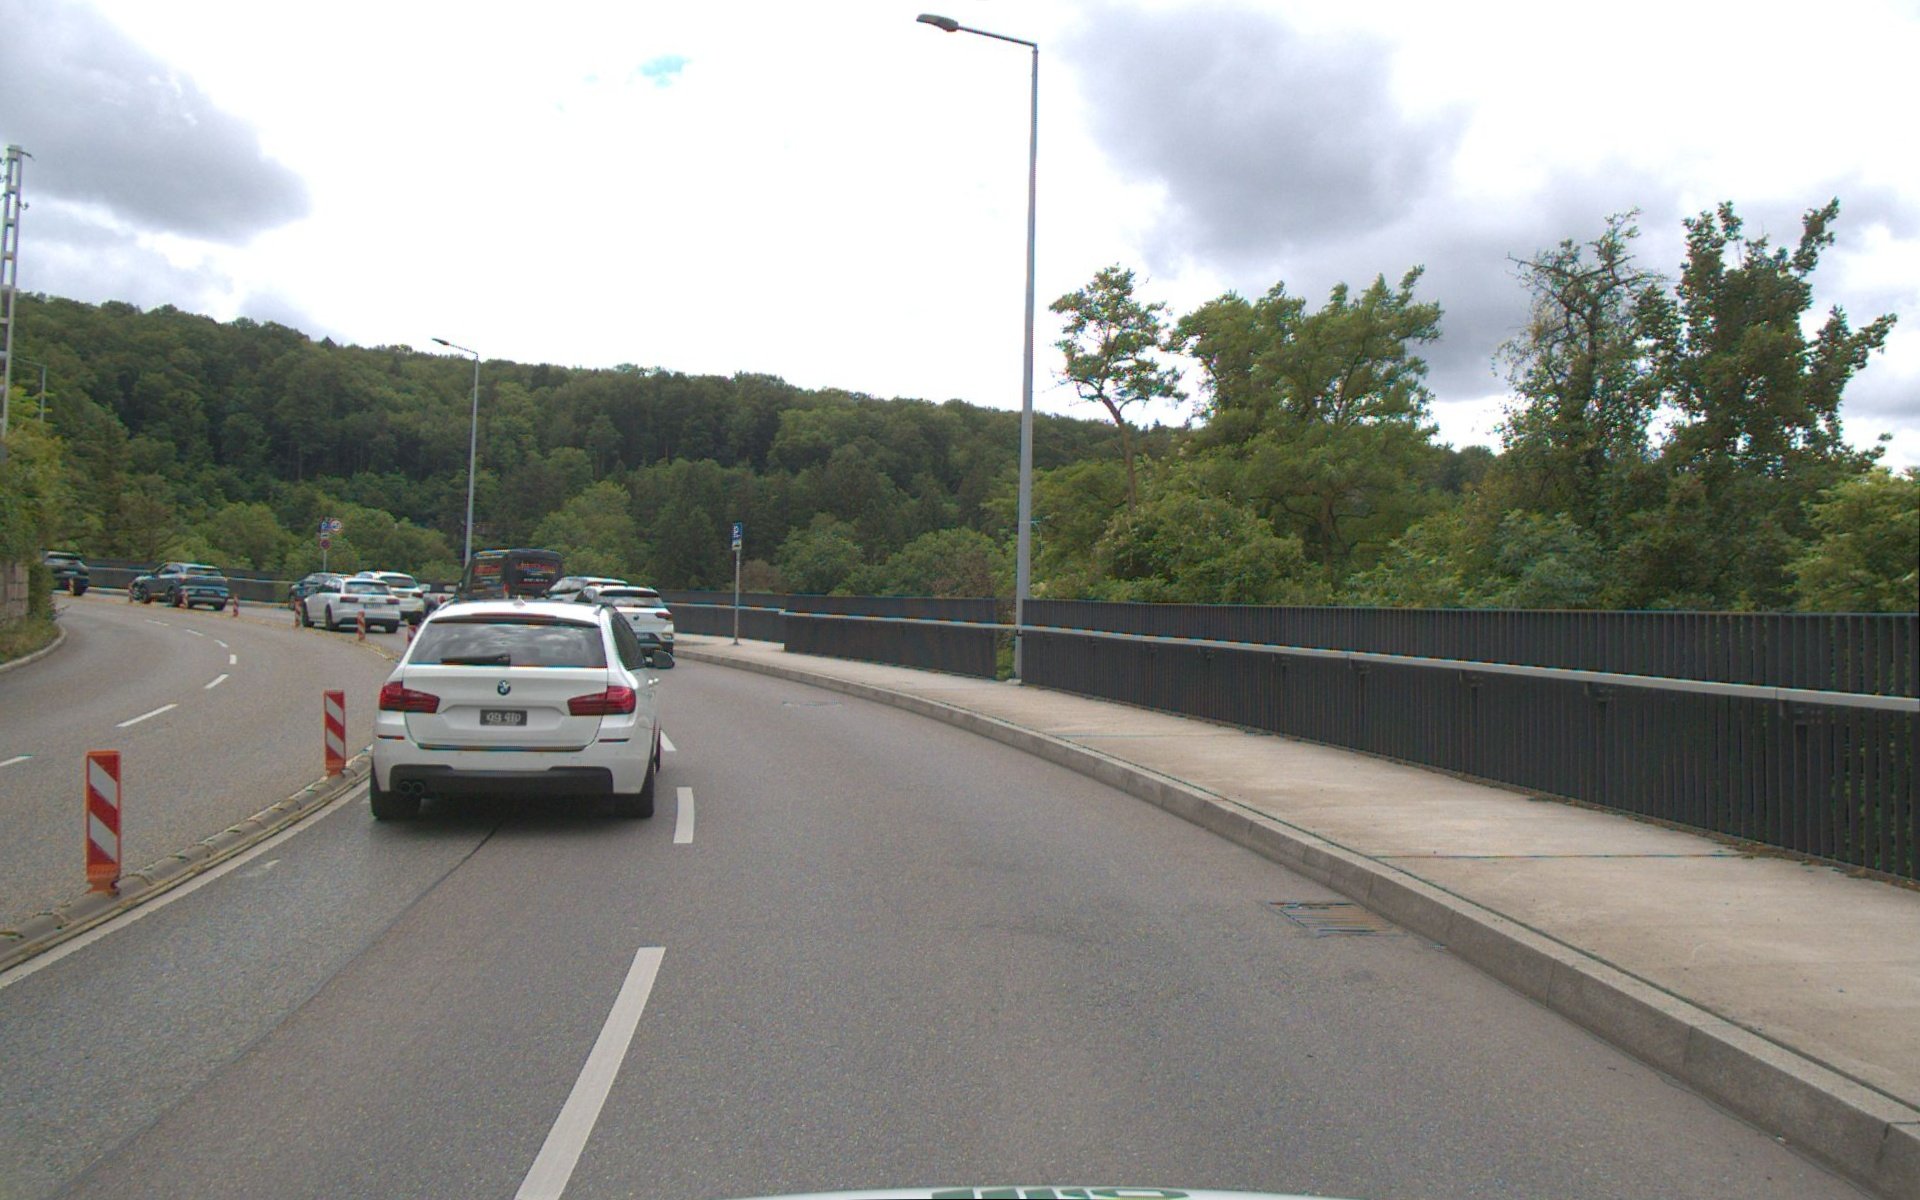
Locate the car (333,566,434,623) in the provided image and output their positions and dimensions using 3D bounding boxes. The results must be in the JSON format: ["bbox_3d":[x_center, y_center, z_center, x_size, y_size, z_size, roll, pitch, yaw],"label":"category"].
[{"bbox_3d":[-18.519,-0.165,53.037,1.978,1.748,4.060,0,0,-36],"label":"car"}]

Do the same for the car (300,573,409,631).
[{"bbox_3d":[-17.011,0.056,46.330,1.974,1.529,4.616,0,0,-32],"label":"car"}]

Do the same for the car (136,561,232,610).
[{"bbox_3d":[-27.248,-0.491,58.055,1.984,1.677,3.937,0,0,-43],"label":"car"}]

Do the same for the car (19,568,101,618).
[{"bbox_3d":[-35.859,-0.249,65.855,1.861,1.793,3.935,4,-4,-44],"label":"car"}]

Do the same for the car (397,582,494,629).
[{"bbox_3d":[-18.023,0.174,57.895,1.706,1.456,3.788,3,0,-44],"label":"car"}]

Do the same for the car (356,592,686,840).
[{"bbox_3d":[-3.048,0.706,12.365,1.793,1.485,4.478,1,0,-7],"label":"car"}]

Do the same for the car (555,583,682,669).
[{"bbox_3d":[-7.003,0.492,33.682,1.803,1.634,3.971,0,0,-23],"label":"car"}]

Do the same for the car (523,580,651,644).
[{"bbox_3d":[-10.857,0.330,47.939,1.976,1.748,4.990,1,0,-34],"label":"car"}]

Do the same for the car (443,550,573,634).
[{"bbox_3d":[-14.679,-0.307,53.517,2.150,2.565,5.696,0,1,-37],"label":"car"}]
